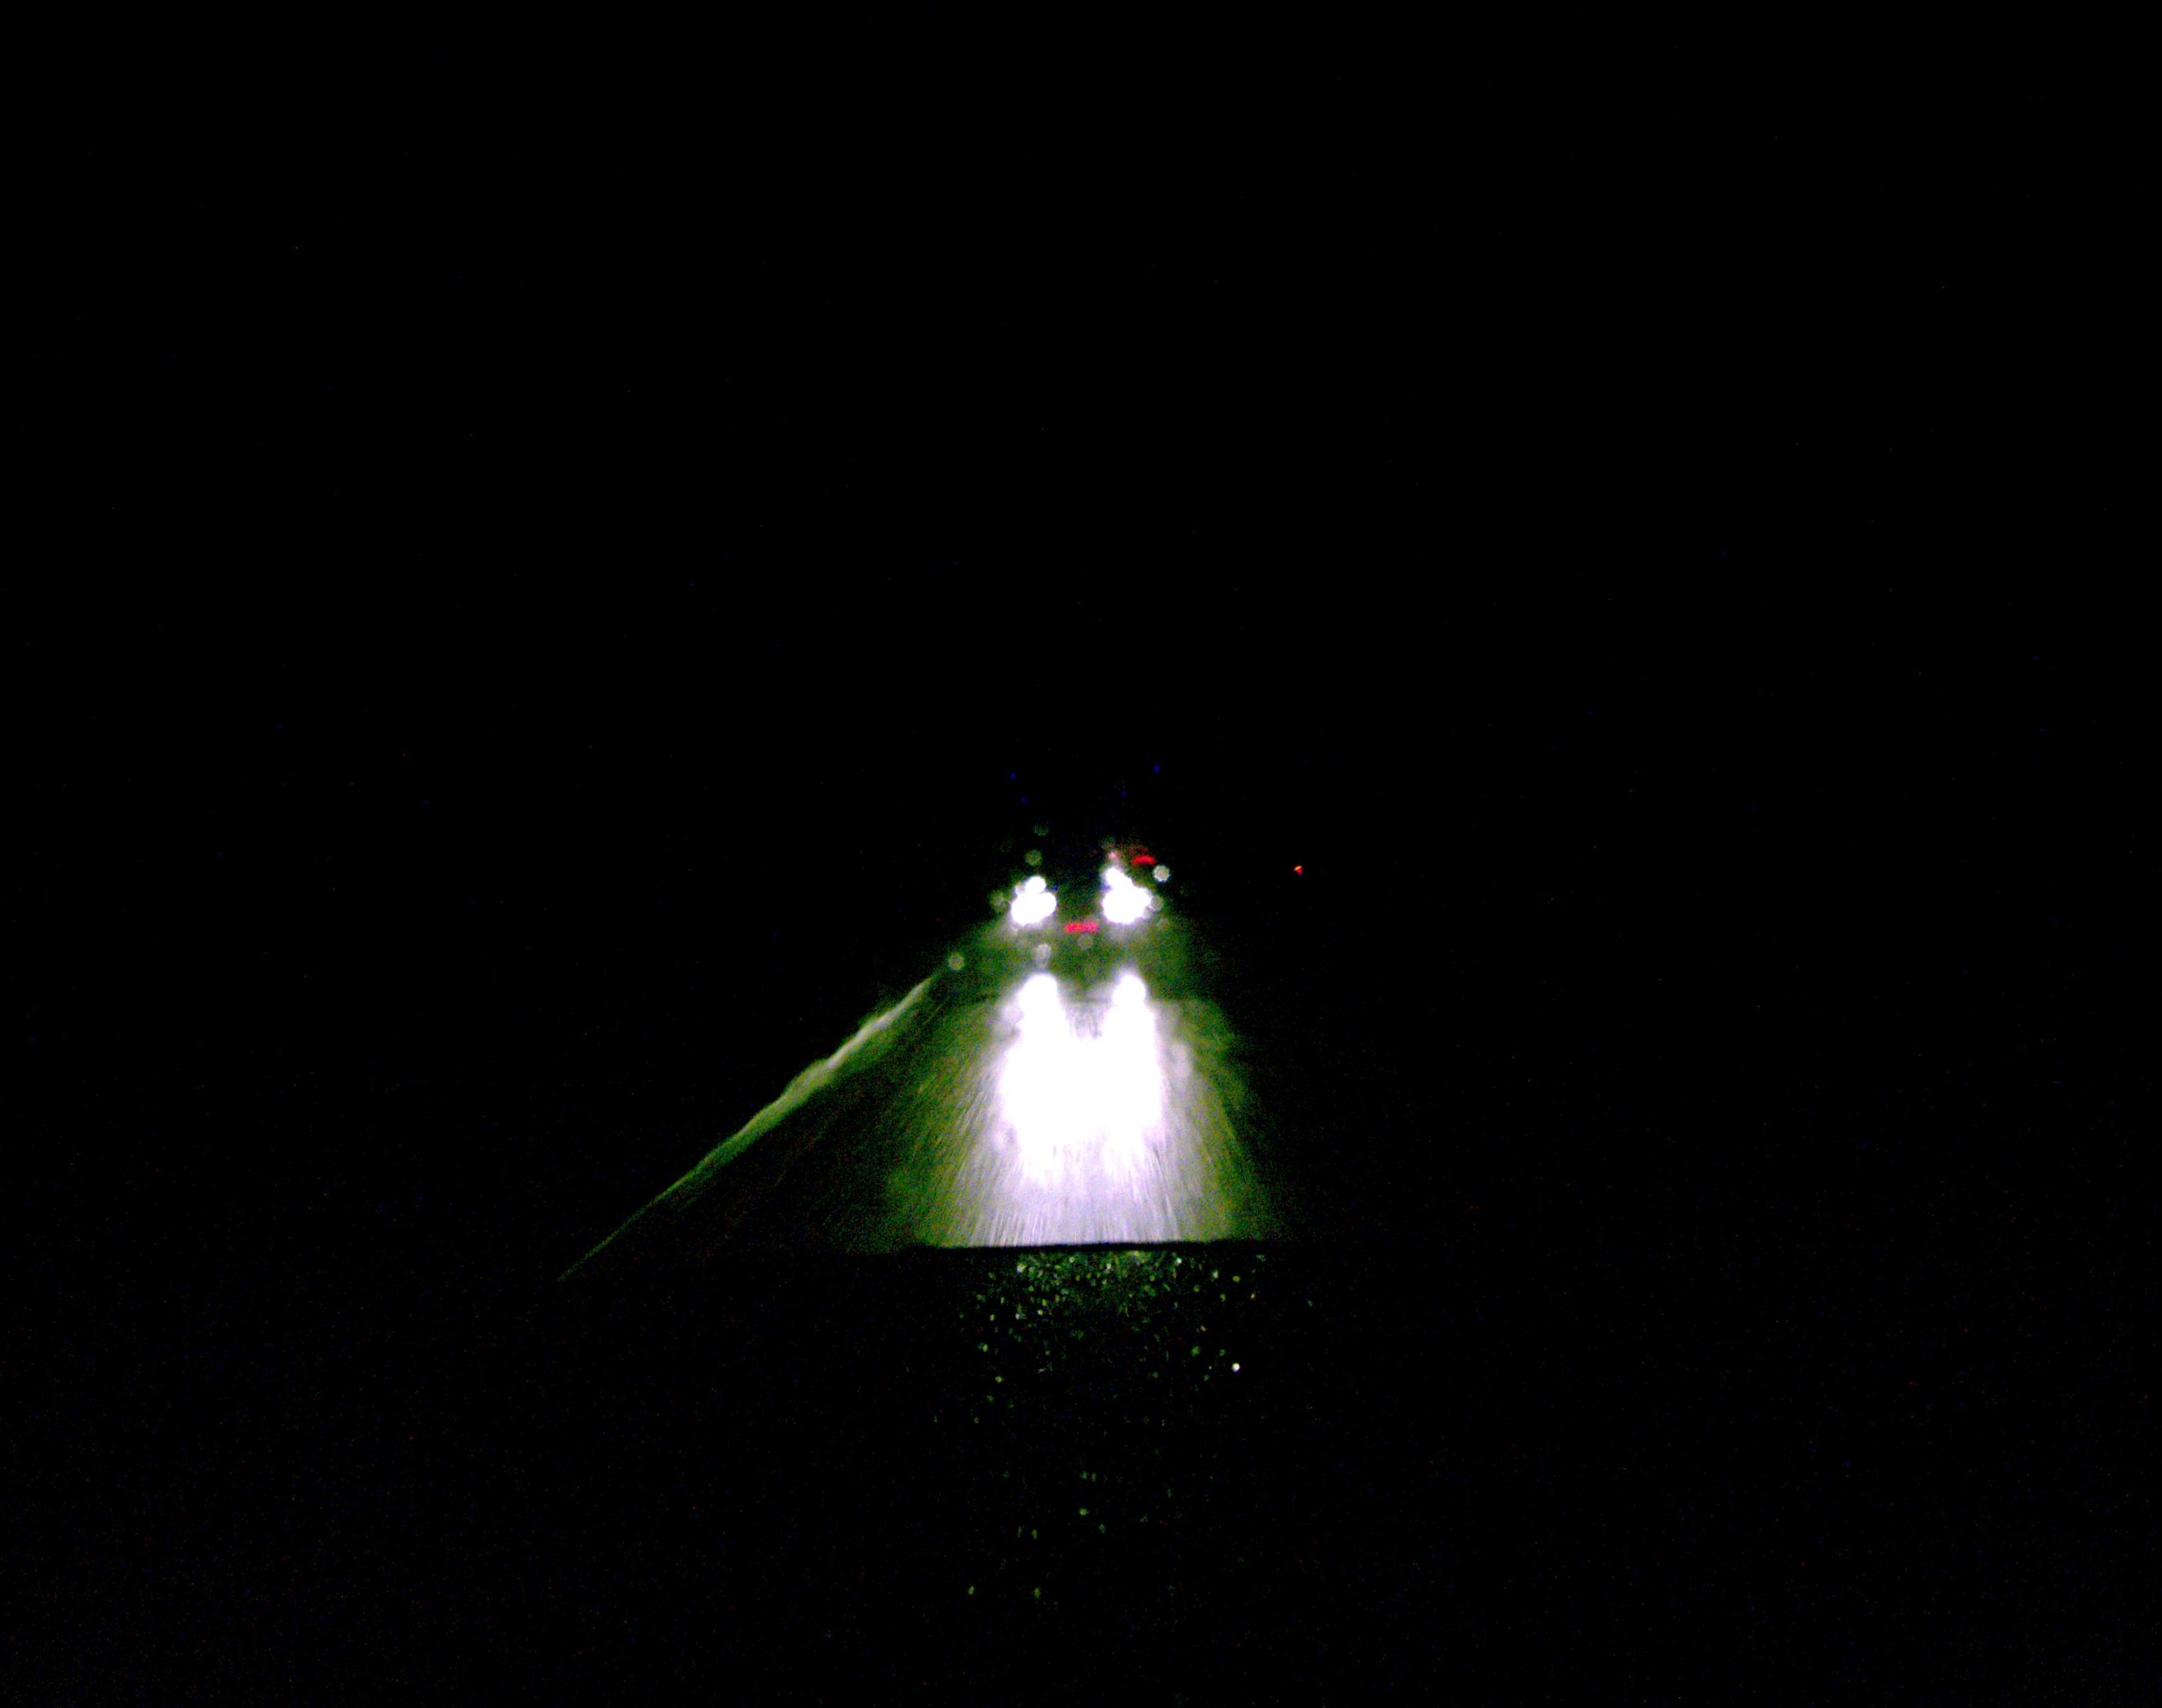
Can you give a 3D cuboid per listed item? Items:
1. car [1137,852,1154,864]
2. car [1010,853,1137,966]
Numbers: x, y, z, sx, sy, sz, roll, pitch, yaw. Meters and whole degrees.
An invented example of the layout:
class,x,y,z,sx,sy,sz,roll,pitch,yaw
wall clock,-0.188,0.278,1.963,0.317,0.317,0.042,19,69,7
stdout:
class,x,y,z,sx,sy,sz,roll,pitch,yaw
car,8.705,0.545,102.923,1.867,1.535,4.229,-3,0,1
car,-0.029,0.868,14.003,1.862,1.601,4.420,-4,1,2
